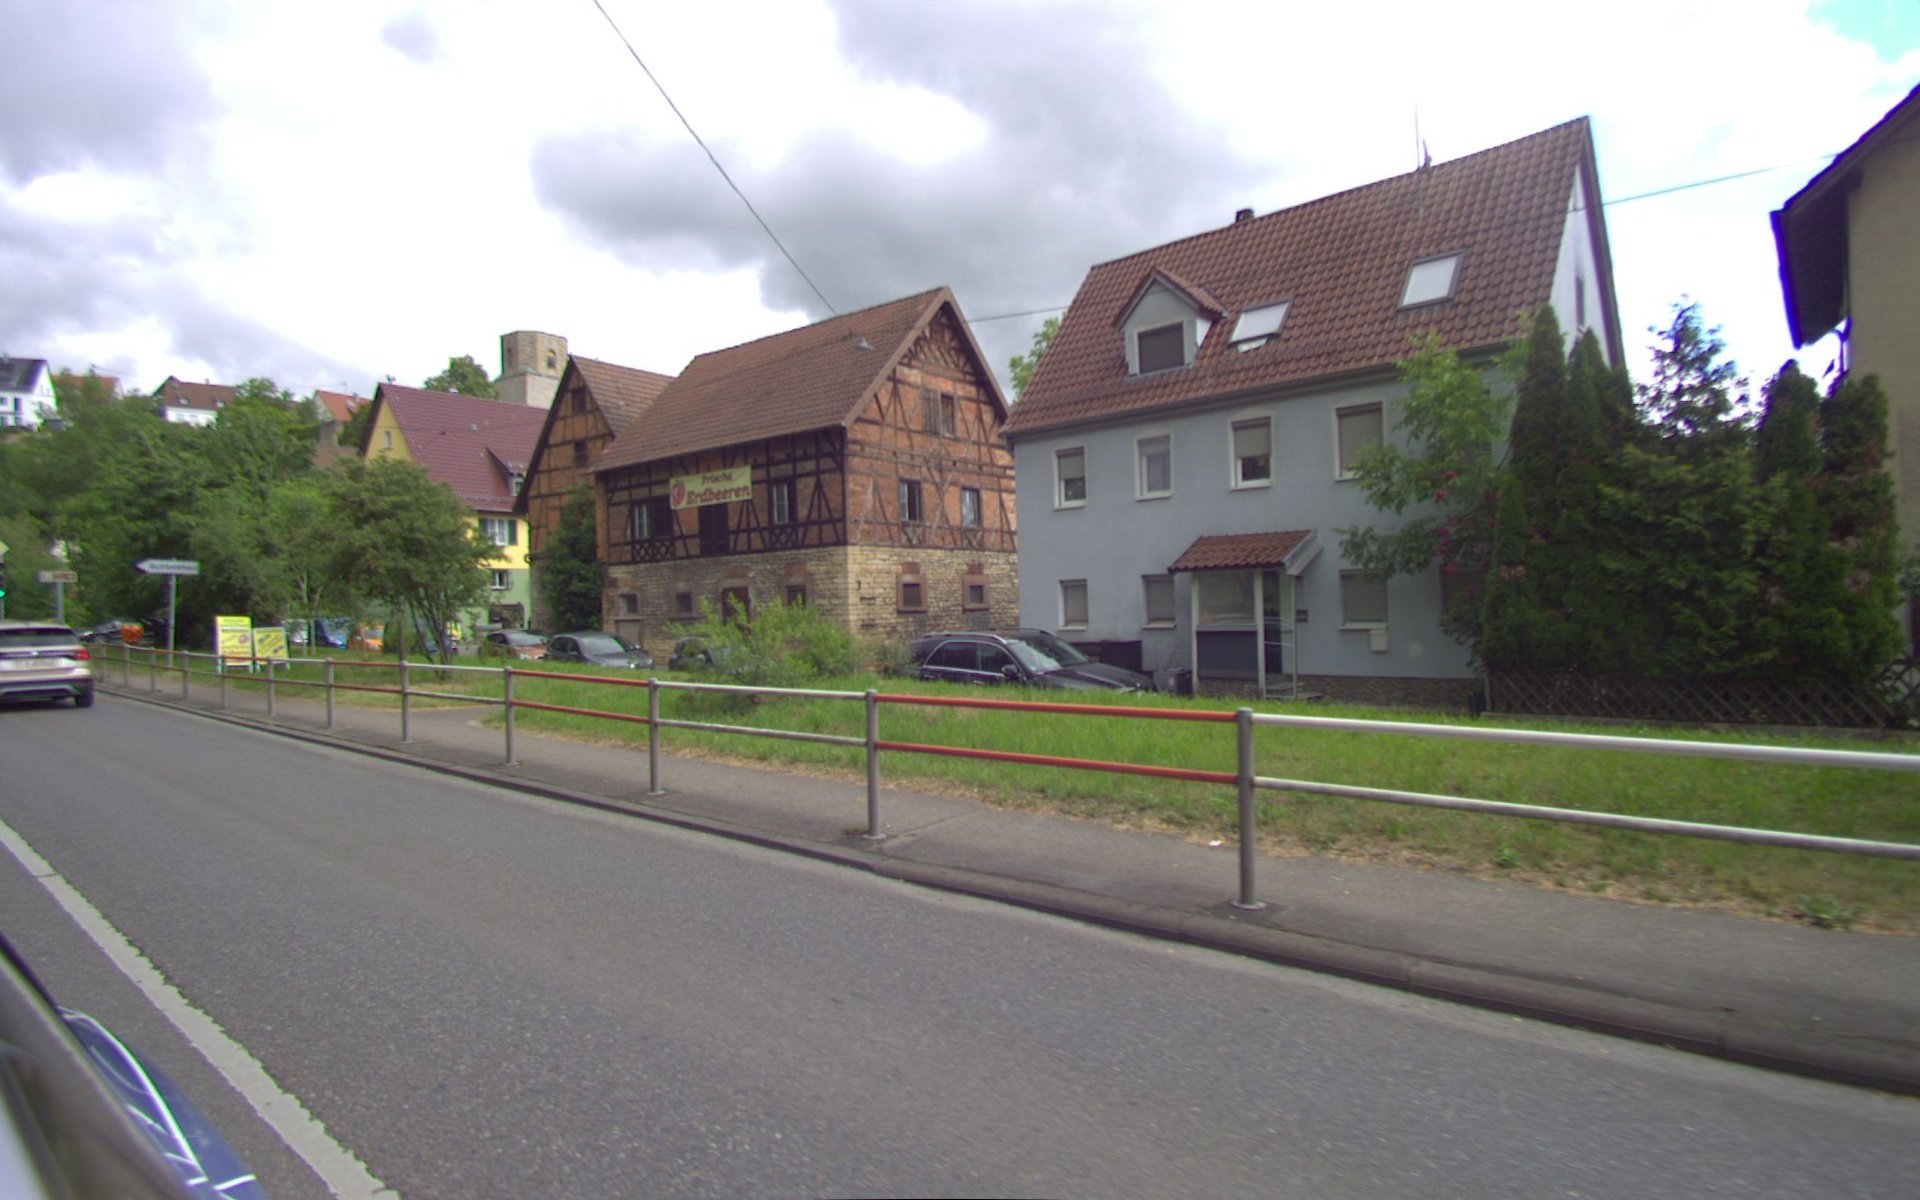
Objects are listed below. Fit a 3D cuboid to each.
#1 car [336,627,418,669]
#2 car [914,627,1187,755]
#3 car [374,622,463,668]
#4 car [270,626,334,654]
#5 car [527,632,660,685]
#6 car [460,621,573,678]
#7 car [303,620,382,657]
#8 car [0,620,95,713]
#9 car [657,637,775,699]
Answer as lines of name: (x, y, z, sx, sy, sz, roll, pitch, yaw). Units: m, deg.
car: (-24.322, 1.953, 42.201, 4.001, 1.630, 1.926, -2, -2, 44)
car: (1.301, 1.295, 15.832, 1.898, 1.708, 4.004, 1, -2, -43)
car: (-20.325, 1.657, 37.926, 4.001, 1.630, 1.791, -2, -2, 44)
car: (-33.432, 2.026, 51.358, 4.149, 1.355, 1.628, -2, -2, 41)
car: (-9.928, 1.525, 27.281, 1.970, 1.287, 4.004, 1, -2, -43)
car: (-13.649, 1.471, 31.061, 4.001, 1.630, 1.791, -2, -2, 44)
car: (-28.356, 1.735, 46.396, 4.448, 1.630, 1.972, -2, -2, 43)
car: (-17.141, 1.147, 18.330, 3.998, 1.523, 1.687, -2, -2, 41)
car: (-5.543, 1.489, 22.886, 1.534, 1.287, 2.556, 1, -2, -43)
